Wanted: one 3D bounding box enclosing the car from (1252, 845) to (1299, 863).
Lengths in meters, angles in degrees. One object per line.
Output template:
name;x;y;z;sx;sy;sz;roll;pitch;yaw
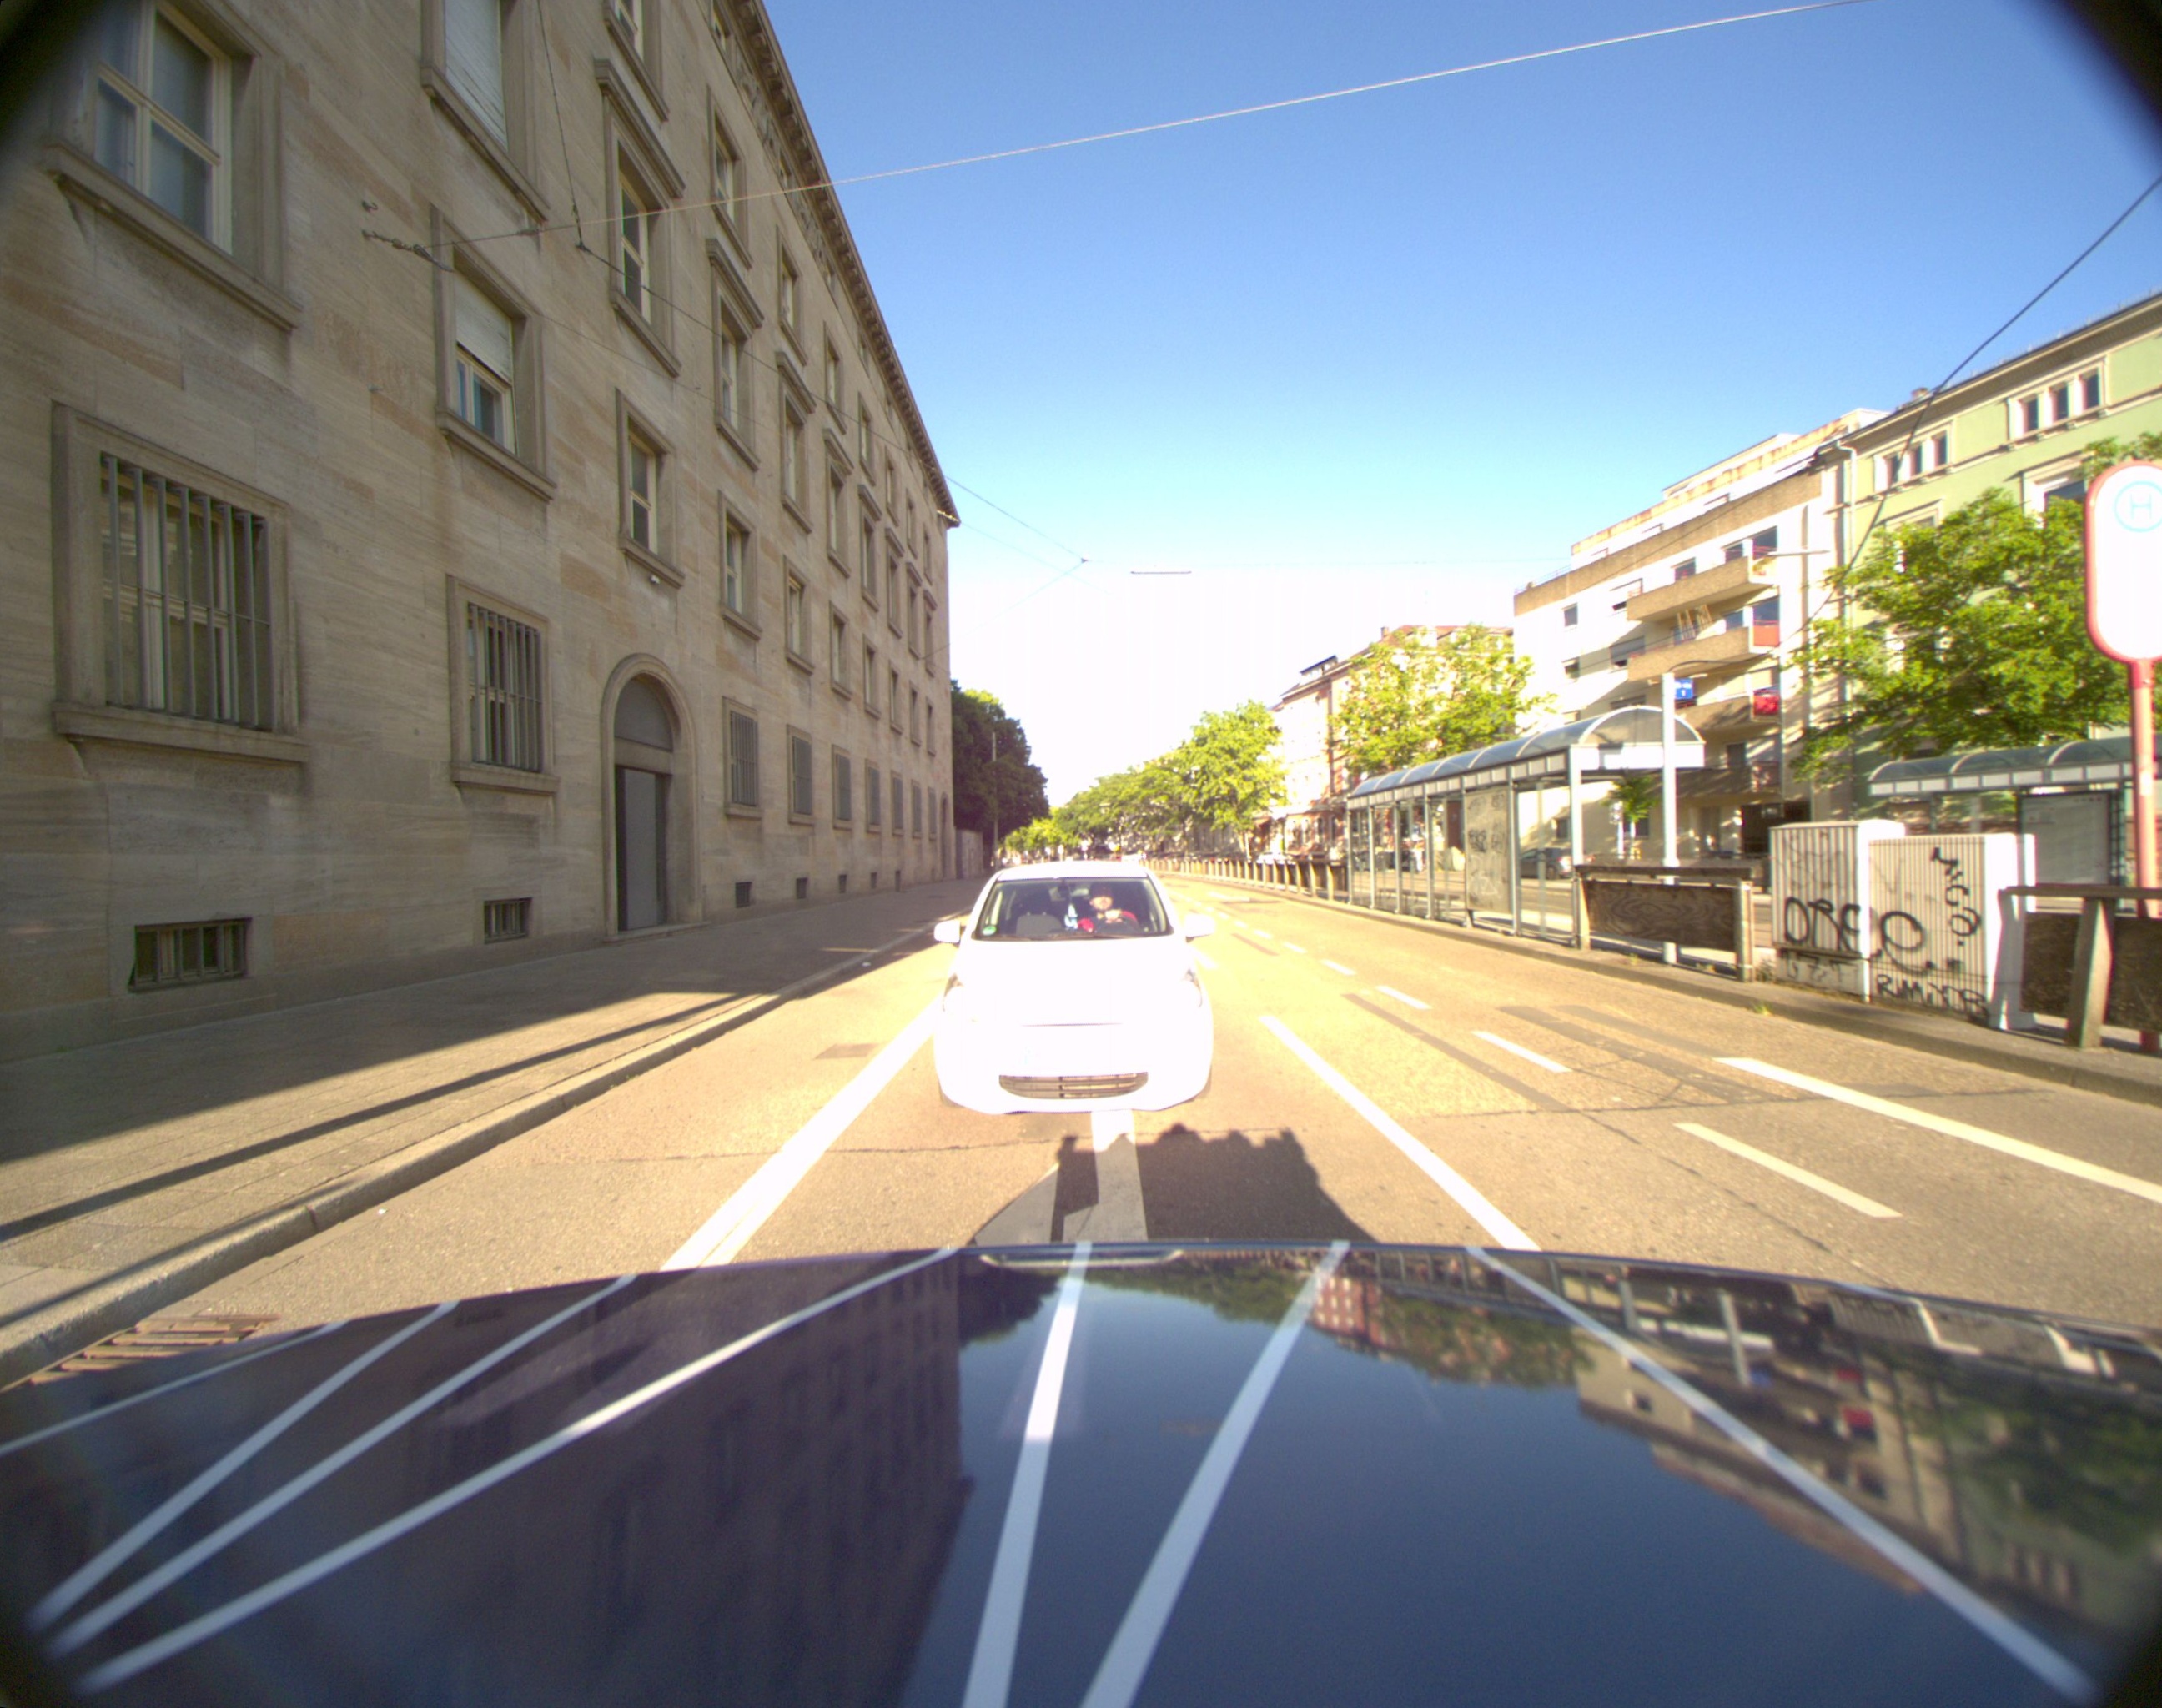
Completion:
car;16.209;0.005;63.229;3.648;1.342;1.578;-2;1;-29

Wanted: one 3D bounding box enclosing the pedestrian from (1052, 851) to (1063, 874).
pedestrian;-1.709;0.609;55.434;0.686;1.673;0.928;-1;1;0

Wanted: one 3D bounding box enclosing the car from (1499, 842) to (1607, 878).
car;21.032;0.252;34.076;2.000;1.521;3.997;1;0;-8

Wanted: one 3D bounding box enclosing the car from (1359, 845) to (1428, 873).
car;18.325;0.276;44.777;2.000;1.521;3.997;-1;0;-8

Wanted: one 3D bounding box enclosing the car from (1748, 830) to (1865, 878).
car;31.715;-0.010;33.249;4.001;2.002;1.798;-1;1;-13

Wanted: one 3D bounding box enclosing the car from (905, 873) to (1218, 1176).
car;-0.077;0.940;5.791;1.606;1.455;3.621;-1;0;1
